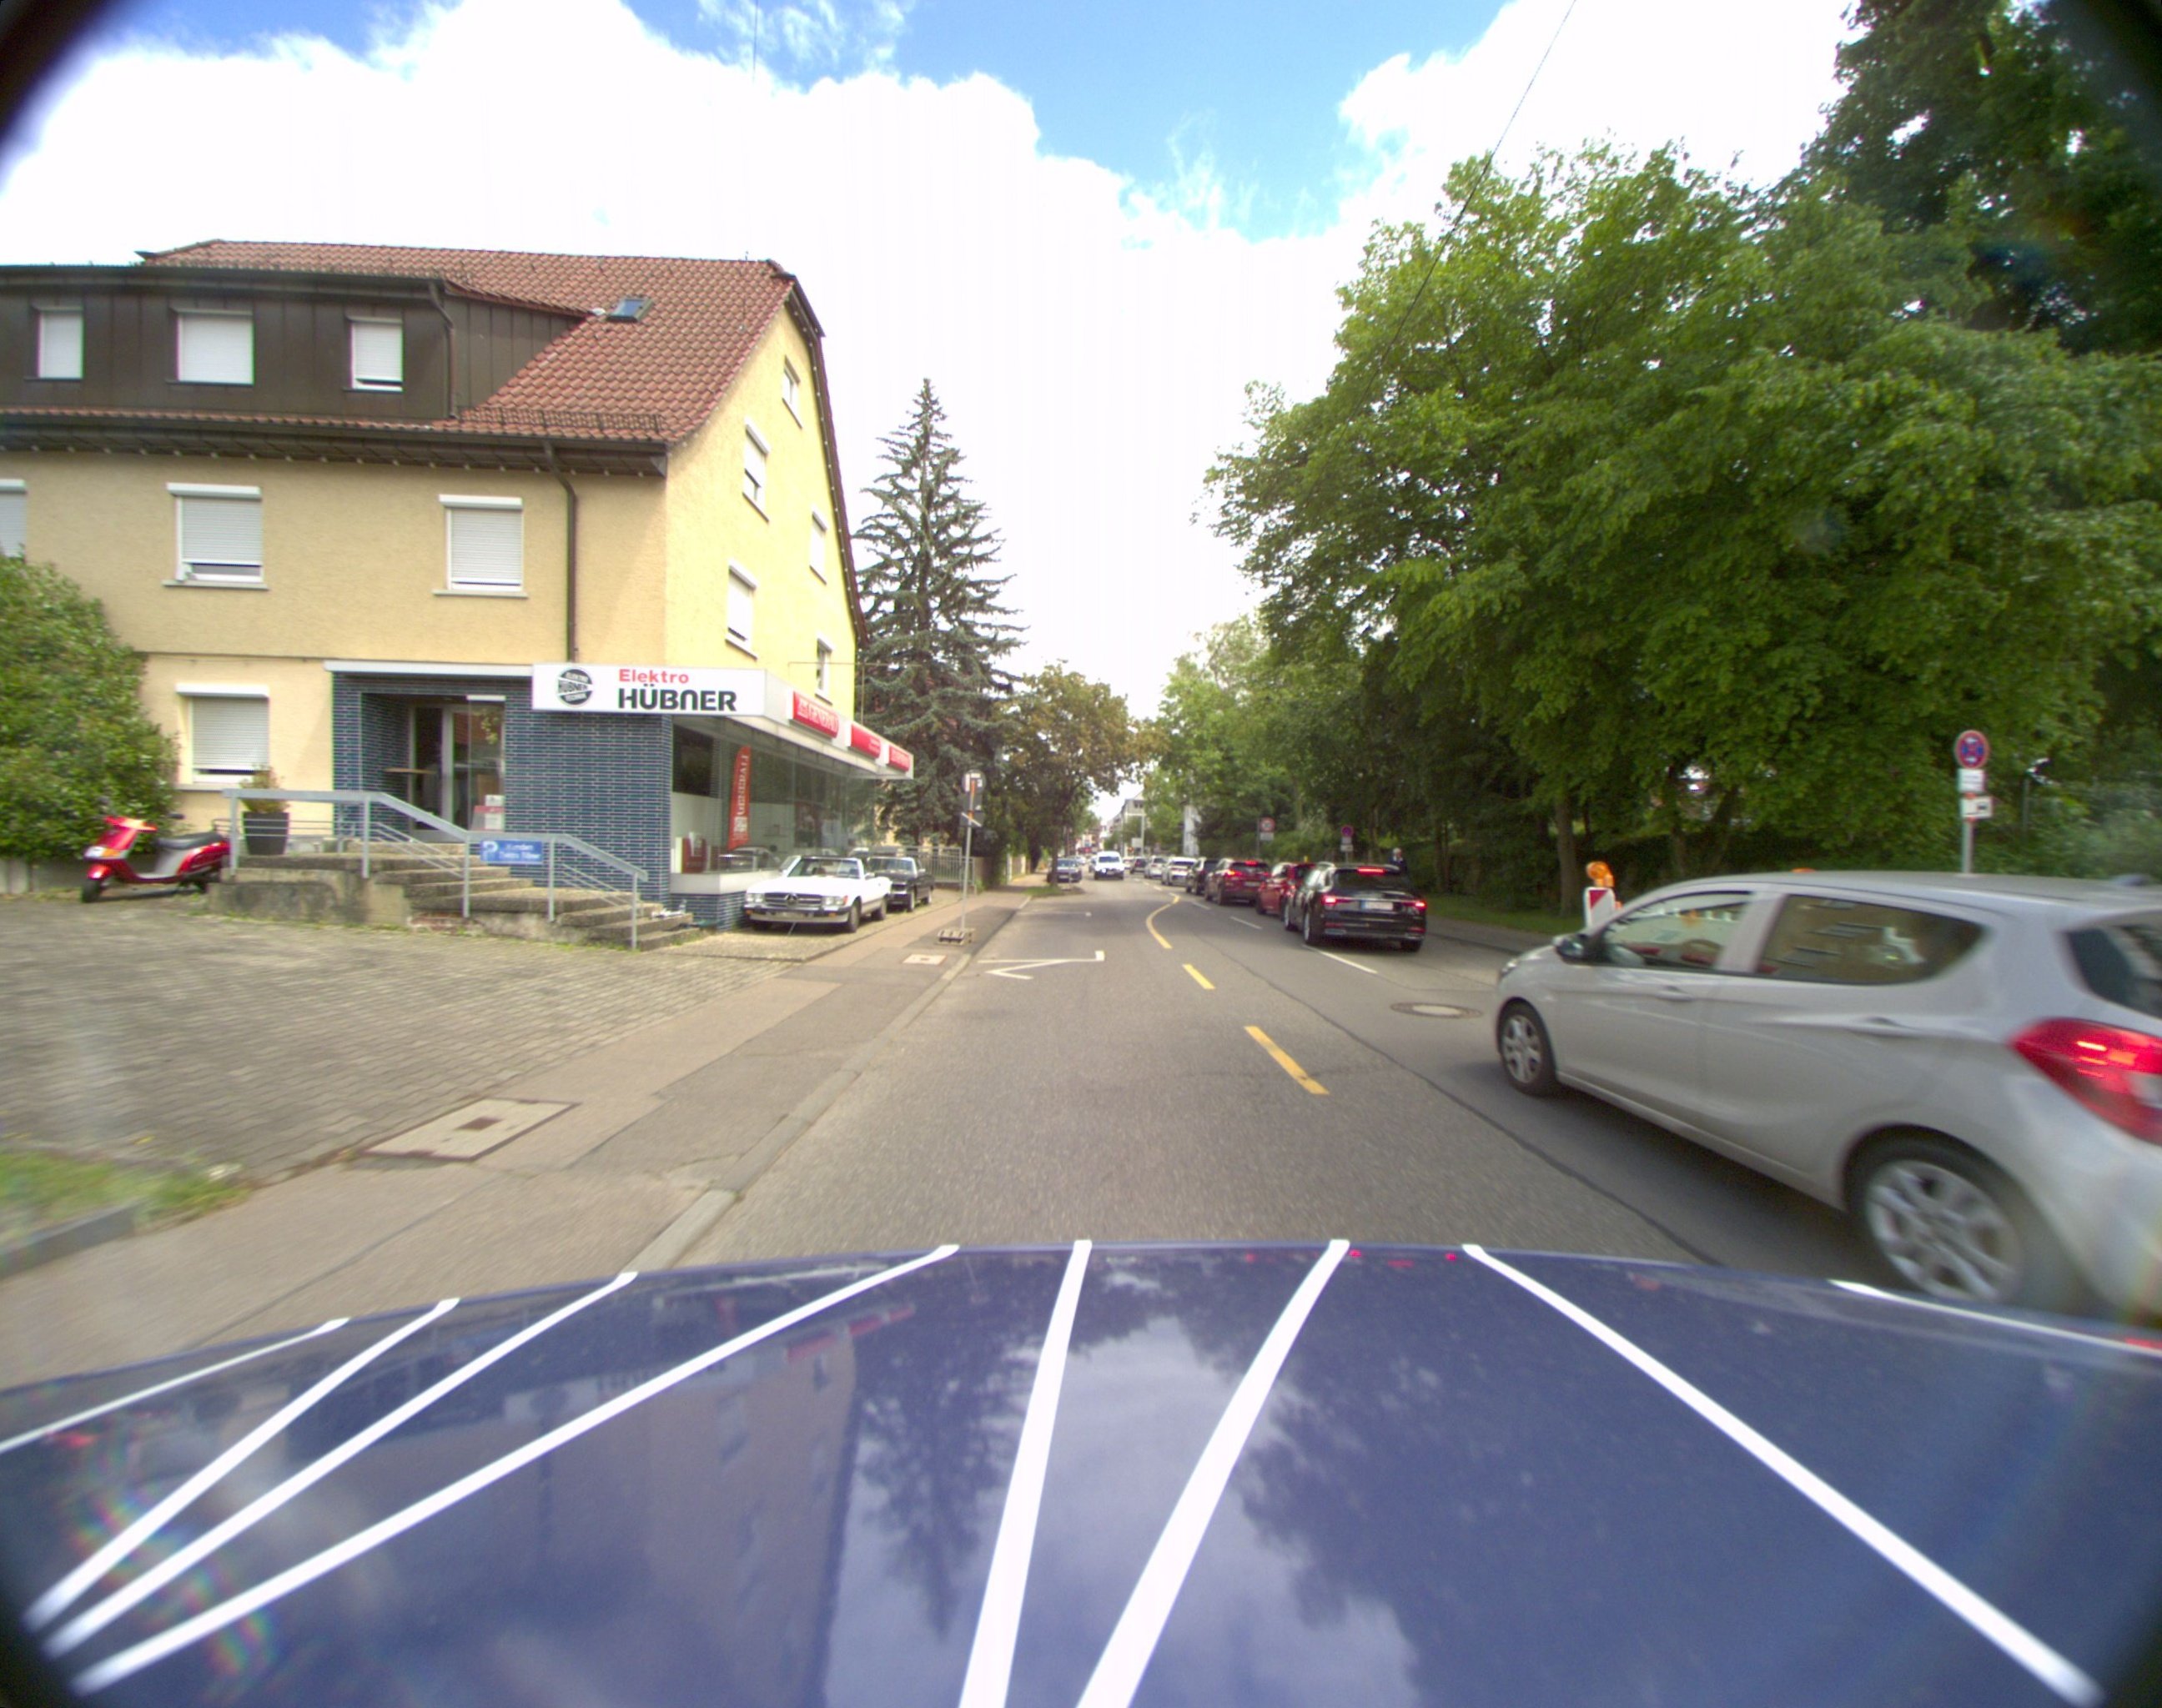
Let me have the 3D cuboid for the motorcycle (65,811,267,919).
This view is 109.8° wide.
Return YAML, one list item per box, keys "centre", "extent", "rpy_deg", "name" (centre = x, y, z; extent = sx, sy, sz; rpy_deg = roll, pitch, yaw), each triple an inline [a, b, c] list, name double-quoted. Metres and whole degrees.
- centre: [-12.384, 0.085, 10.378]
  extent: [0.402, 1.304, 1.906]
  rpy_deg: [7, 4, 1]
  name: "motorcycle"

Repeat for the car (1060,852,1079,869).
- centre: [-1.058, 0.608, 70.933]
  extent: [1.767, 1.483, 3.577]
  rpy_deg: [-1, 1, -1]
  name: "car"

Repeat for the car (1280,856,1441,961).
- centre: [4.918, 0.850, 14.068]
  extent: [1.822, 1.514, 4.563]
  rpy_deg: [2, 1, 8]
  name: "car"

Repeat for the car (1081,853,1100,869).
- centre: [0.891, 0.670, 74.330]
  extent: [1.767, 1.483, 3.577]
  rpy_deg: [-1, 1, -1]
  name: "car"

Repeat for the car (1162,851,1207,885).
- centre: [5.513, 0.705, 41.020]
  extent: [1.761, 1.581, 4.003]
  rpy_deg: [3, 1, -1]
  name: "car"

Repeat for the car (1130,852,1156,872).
- centre: [5.511, 0.677, 67.930]
  extent: [1.761, 1.581, 4.161]
  rpy_deg: [3, 1, -1]
  name: "car"

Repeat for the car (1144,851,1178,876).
- centre: [5.524, 0.628, 52.953]
  extent: [1.761, 1.581, 4.161]
  rpy_deg: [3, 1, -1]
  name: "car"

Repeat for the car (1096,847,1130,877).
- centre: [2.061, 0.504, 49.665]
  extent: [1.966, 1.796, 4.428]
  rpy_deg: [-1, 1, 0]
  name: "car"

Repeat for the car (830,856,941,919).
- centre: [-4.794, 0.762, 19.271]
  extent: [1.789, 1.276, 4.315]
  rpy_deg: [2, 1, -2]
  name: "car"

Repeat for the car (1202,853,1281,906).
- centre: [5.302, 0.783, 25.557]
  extent: [1.780, 1.547, 4.001]
  rpy_deg: [3, 1, 0]
  name: "car"

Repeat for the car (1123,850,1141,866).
- centre: [5.614, 0.426, 84.499]
  extent: [1.619, 1.581, 4.161]
  rpy_deg: [3, 1, -1]
  name: "car"

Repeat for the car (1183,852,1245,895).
- centre: [5.424, 0.756, 31.464]
  extent: [1.761, 1.581, 3.969]
  rpy_deg: [2, 1, -1]
  name: "car"

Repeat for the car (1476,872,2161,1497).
- centre: [3.557, 0.880, 3.541]
  extent: [1.618, 1.514, 3.570]
  rpy_deg: [1, -1, 1]
  name: "car"

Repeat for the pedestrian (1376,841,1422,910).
- centre: [8.647, 0.569, 20.678]
  extent: [0.835, 1.837, 1.022]
  rpy_deg: [0, 1, 3]
  name: "pedestrian"

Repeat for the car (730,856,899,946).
- centre: [-4.746, 0.756, 14.259]
  extent: [1.790, 1.309, 4.479]
  rpy_deg: [2, 1, -3]
  name: "car"

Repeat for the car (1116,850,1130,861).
- centre: [5.494, 0.157, 99.949]
  extent: [1.541, 1.368, 4.161]
  rpy_deg: [3, 1, -1]
  name: "car"

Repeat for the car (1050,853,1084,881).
- centre: [-0.825, 0.721, 45.247]
  extent: [1.938, 1.483, 4.022]
  rpy_deg: [-1, 1, -1]
  name: "car"

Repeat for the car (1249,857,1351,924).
- centre: [5.652, 0.874, 20.008]
  extent: [1.618, 1.514, 3.569]
  rpy_deg: [2, 0, 0]
  name: "car"

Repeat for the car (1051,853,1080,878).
- centre: [-0.988, 0.726, 49.371]
  extent: [1.767, 1.483, 3.859]
  rpy_deg: [-1, 0, -1]
  name: "car"
